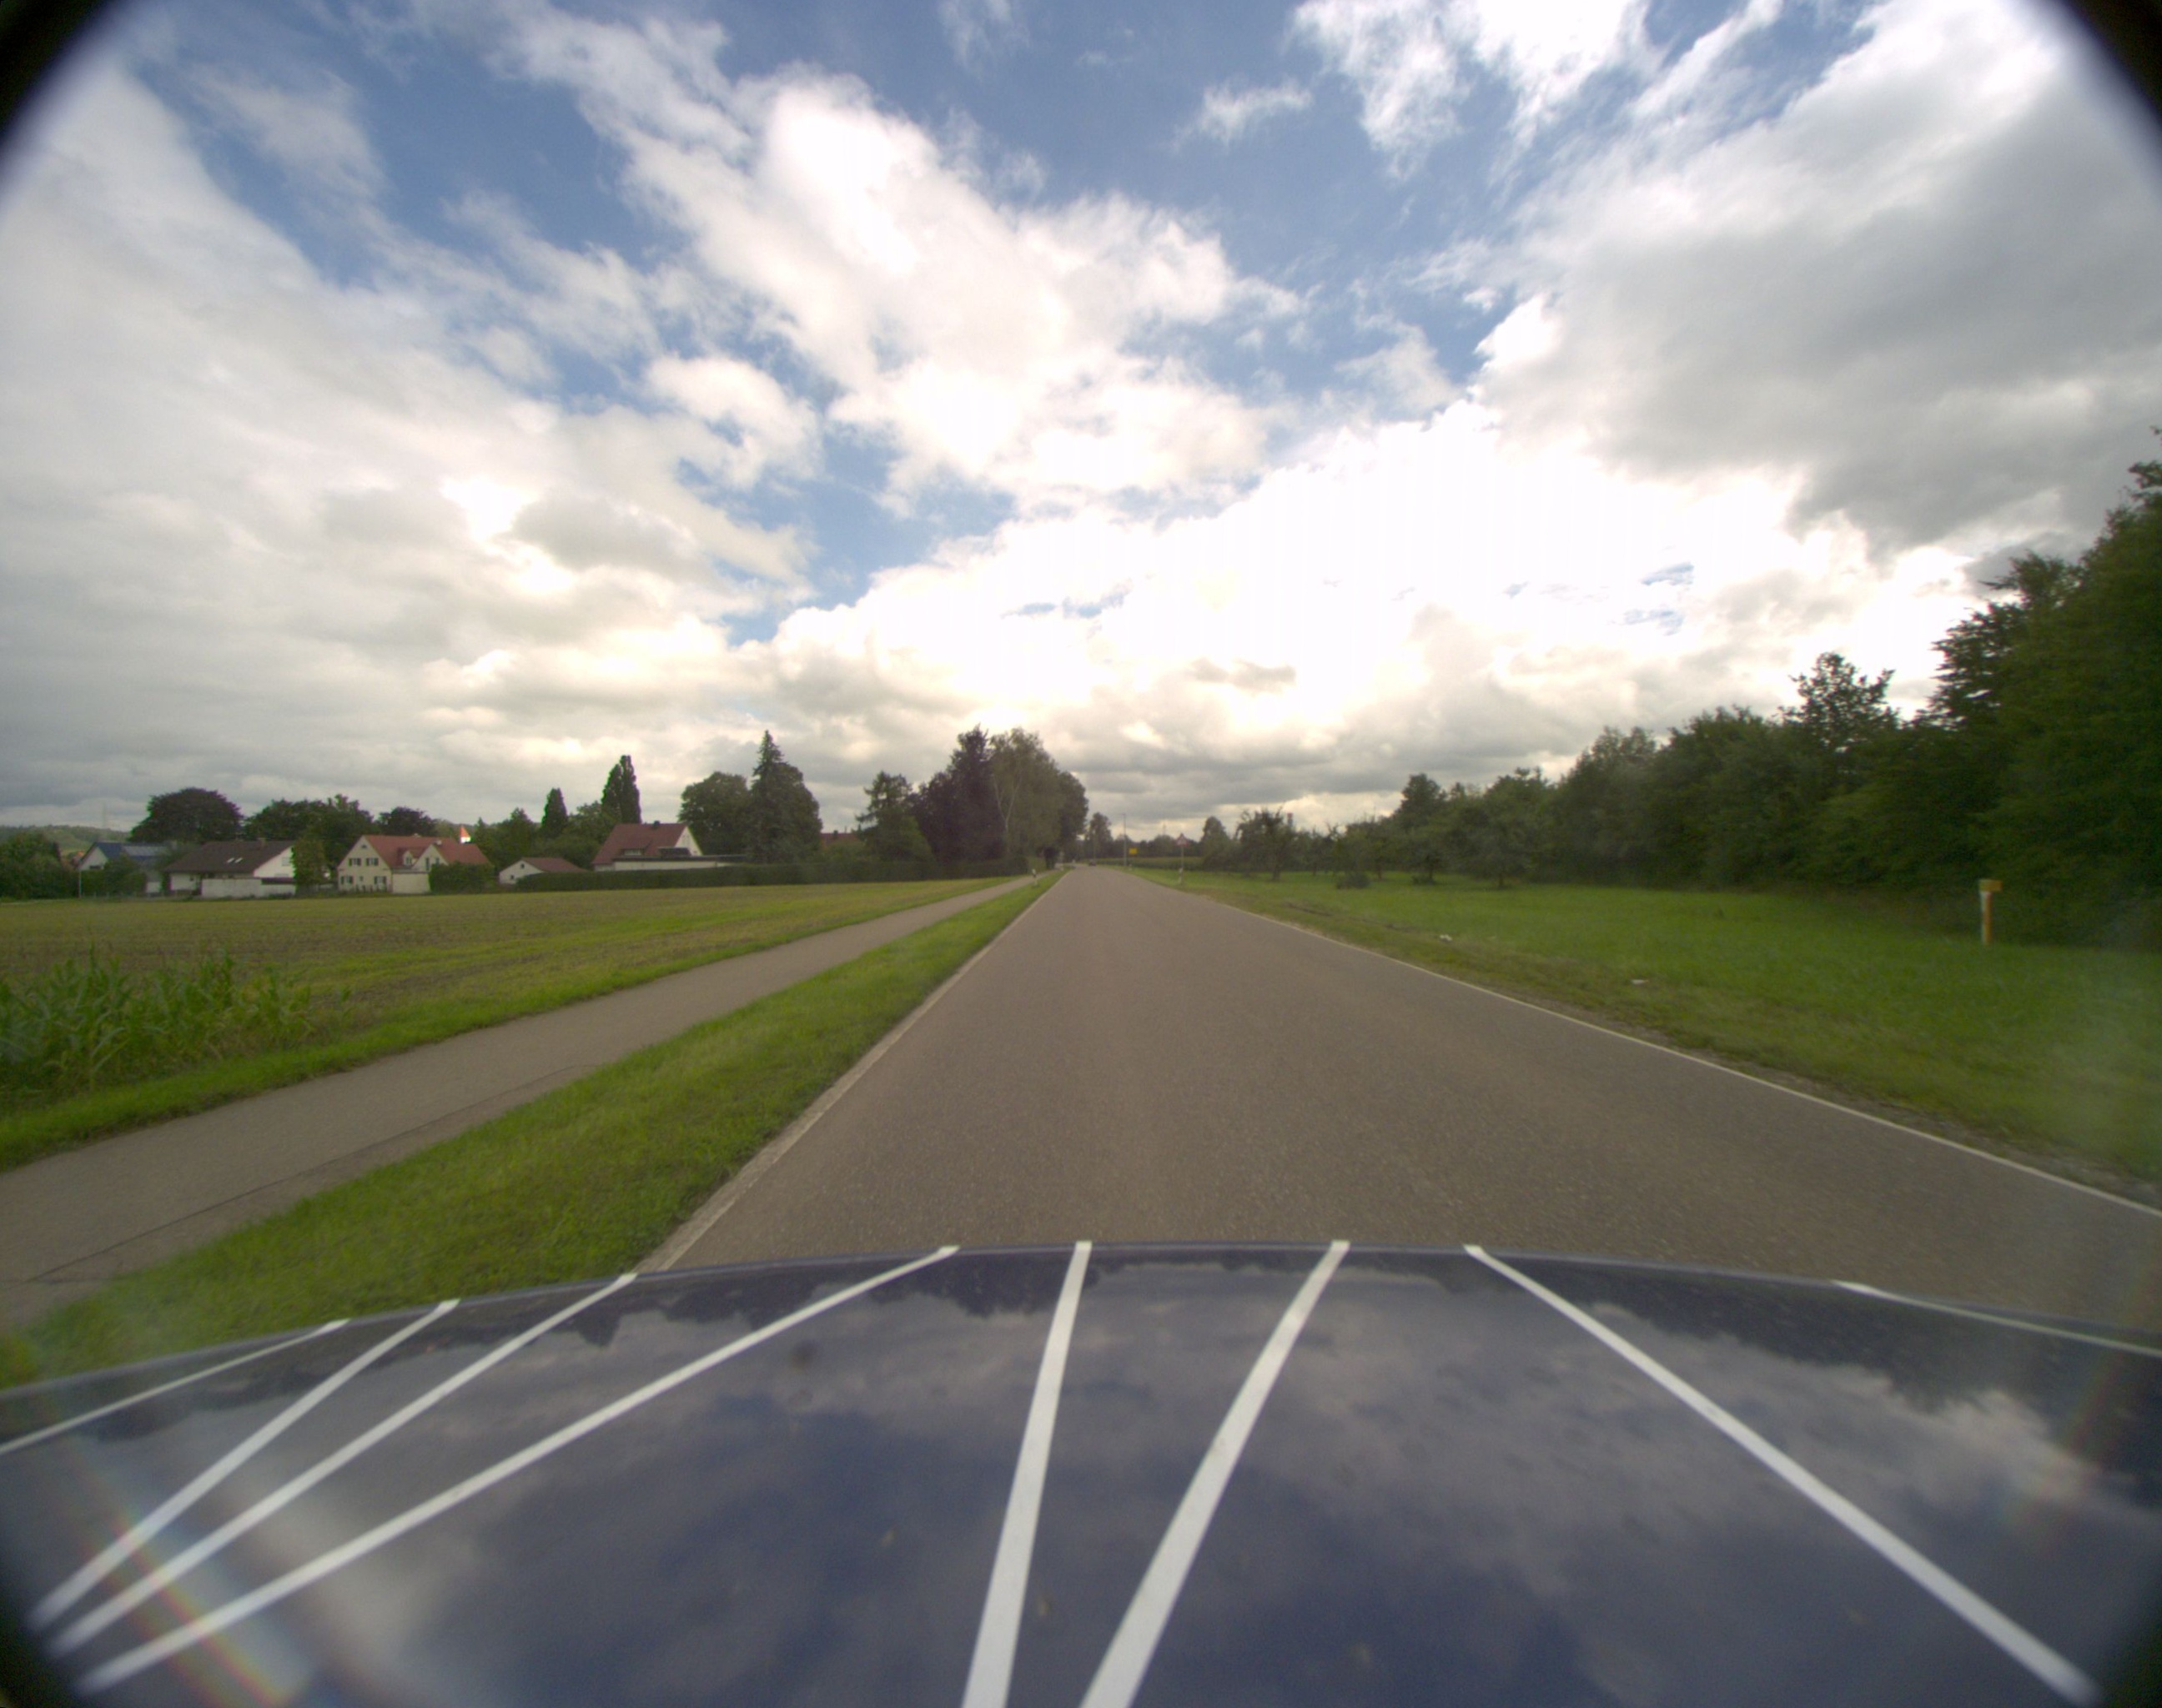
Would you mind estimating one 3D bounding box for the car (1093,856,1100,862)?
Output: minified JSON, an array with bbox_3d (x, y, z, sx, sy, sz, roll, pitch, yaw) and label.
[{"bbox_3d":[3.988,1.219,198.440,1.869,1.543,4.182,1,0,1],"label":"car"}]
